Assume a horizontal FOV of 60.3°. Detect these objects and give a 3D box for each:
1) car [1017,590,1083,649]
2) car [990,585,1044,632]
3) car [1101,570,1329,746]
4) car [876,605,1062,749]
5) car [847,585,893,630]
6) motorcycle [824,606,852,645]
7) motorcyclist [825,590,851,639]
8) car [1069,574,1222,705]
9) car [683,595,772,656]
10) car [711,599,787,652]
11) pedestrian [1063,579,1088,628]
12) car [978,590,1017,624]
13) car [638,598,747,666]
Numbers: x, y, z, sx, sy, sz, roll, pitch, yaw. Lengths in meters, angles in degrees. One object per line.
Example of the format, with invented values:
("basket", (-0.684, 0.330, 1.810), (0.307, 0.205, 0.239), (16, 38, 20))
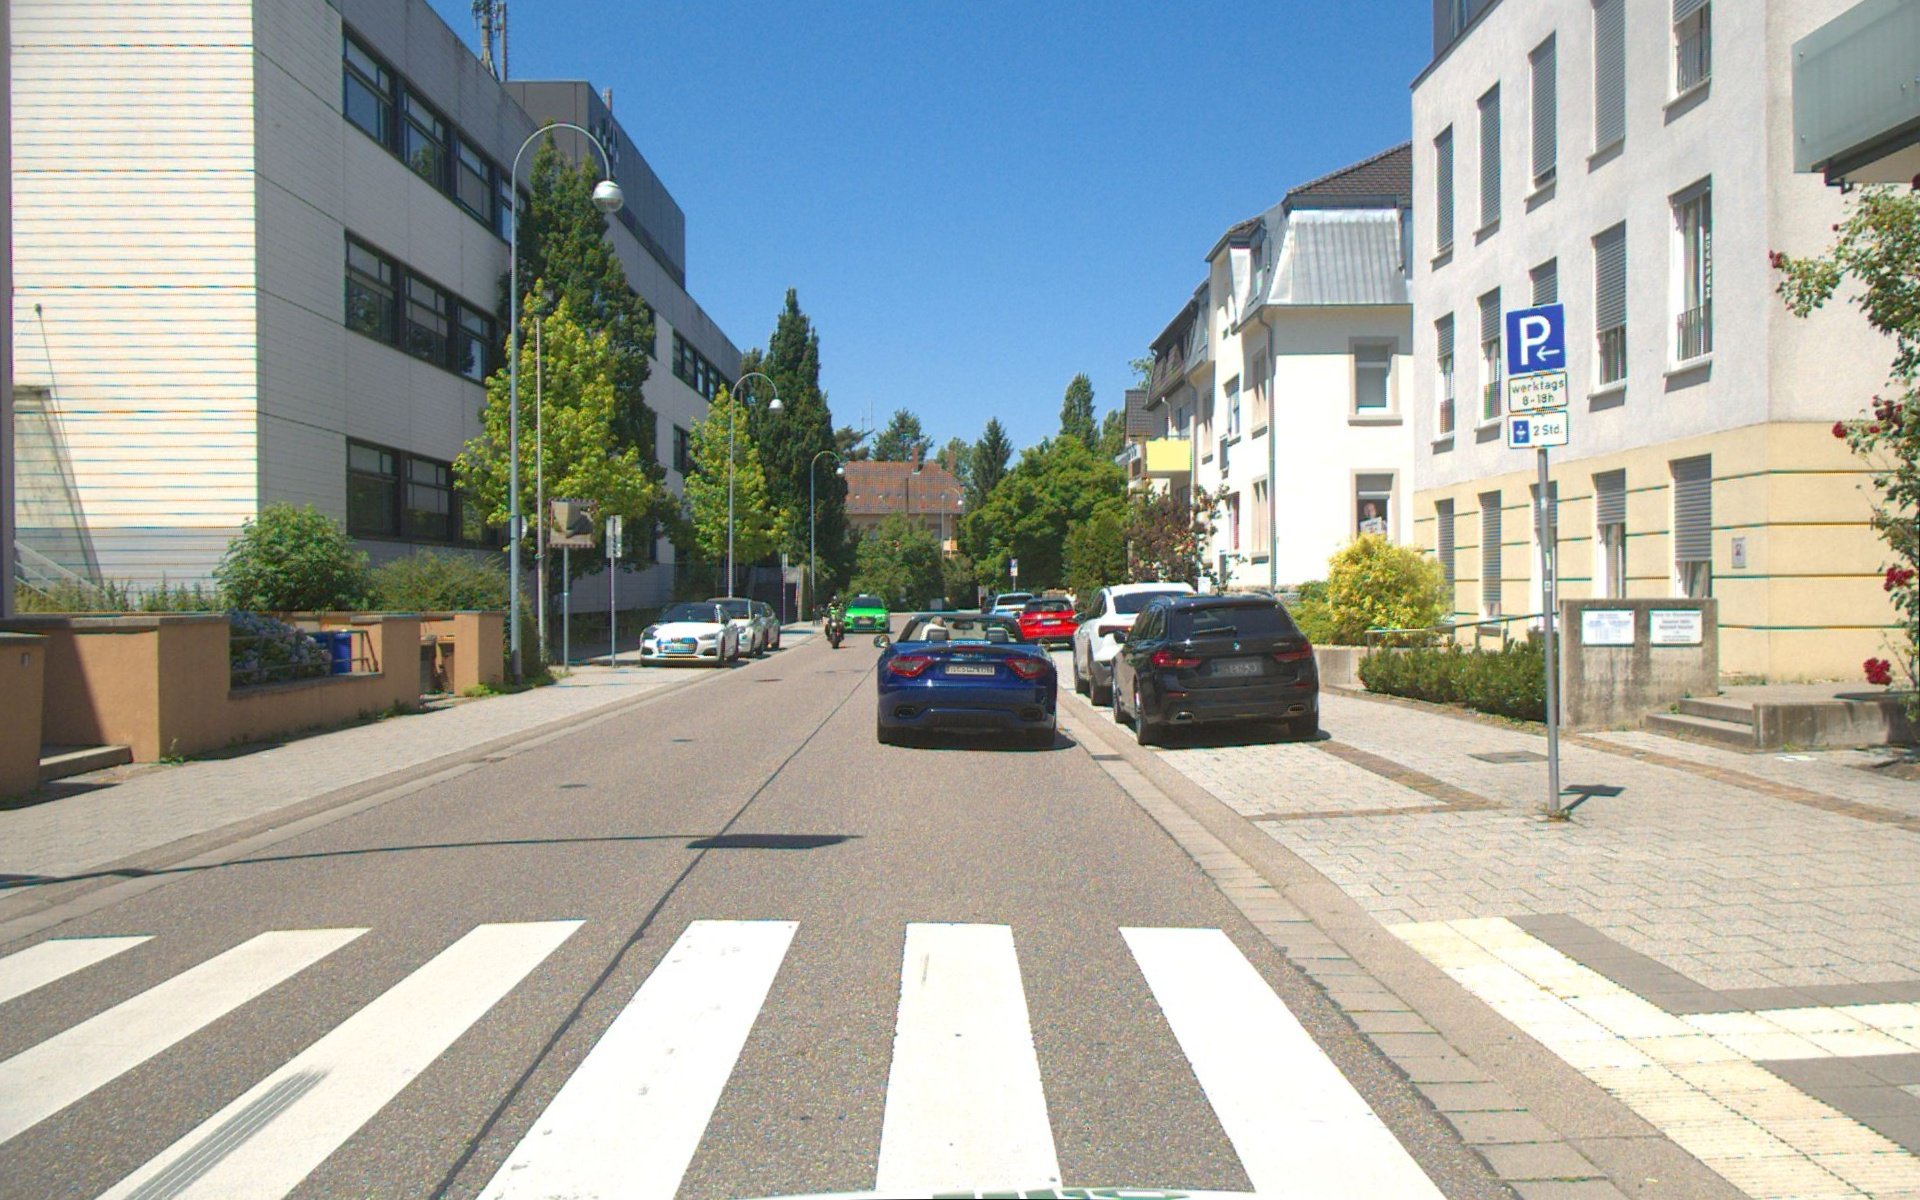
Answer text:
("car", (2.466, 0.508, 45.864), (1.571, 1.466, 3.853), (-3, 0, 0))
("car", (2.118, 0.290, 62.712), (1.806, 1.647, 4.427), (-2, 0, 0))
("car", (2.663, 0.544, 18.338), (1.670, 1.583, 4.747), (-4, 0, 0))
("car", (0.062, 0.761, 18.464), (1.789, 1.360, 4.699), (1, 0, -1))
("car", (-3.664, 0.275, 67.604), (1.786, 1.616, 4.099), (-1, 3, -3))
("motorcycle", (-3.712, 0.771, 50.419), (0.684, 1.126, 1.790), (-2, 0, -1))
("motorcyclist", (-3.709, 0.432, 50.240), (0.684, 1.458, 0.707), (-2, 0, -1))
("car", (2.647, 0.514, 24.496), (1.670, 1.695, 4.579), (-2, 0, 0))
("car", (-6.109, 0.637, 43.888), (1.785, 1.538, 4.289), (0, 0, -1))
("car", (-6.169, 0.720, 48.734), (1.712, 1.434, 3.933), (-1, 0, 0))
("pedestrian", (4.117, 0.135, 59.066), (0.725, 1.698, 0.705), (-3, 0, -2))
("car", (1.720, 0.293, 77.267), (1.598, 1.471, 4.397), (-3, 0, -1))
("car", (-6.110, 0.693, 38.232), (1.785, 1.436, 4.576), (2, 0, -1))
